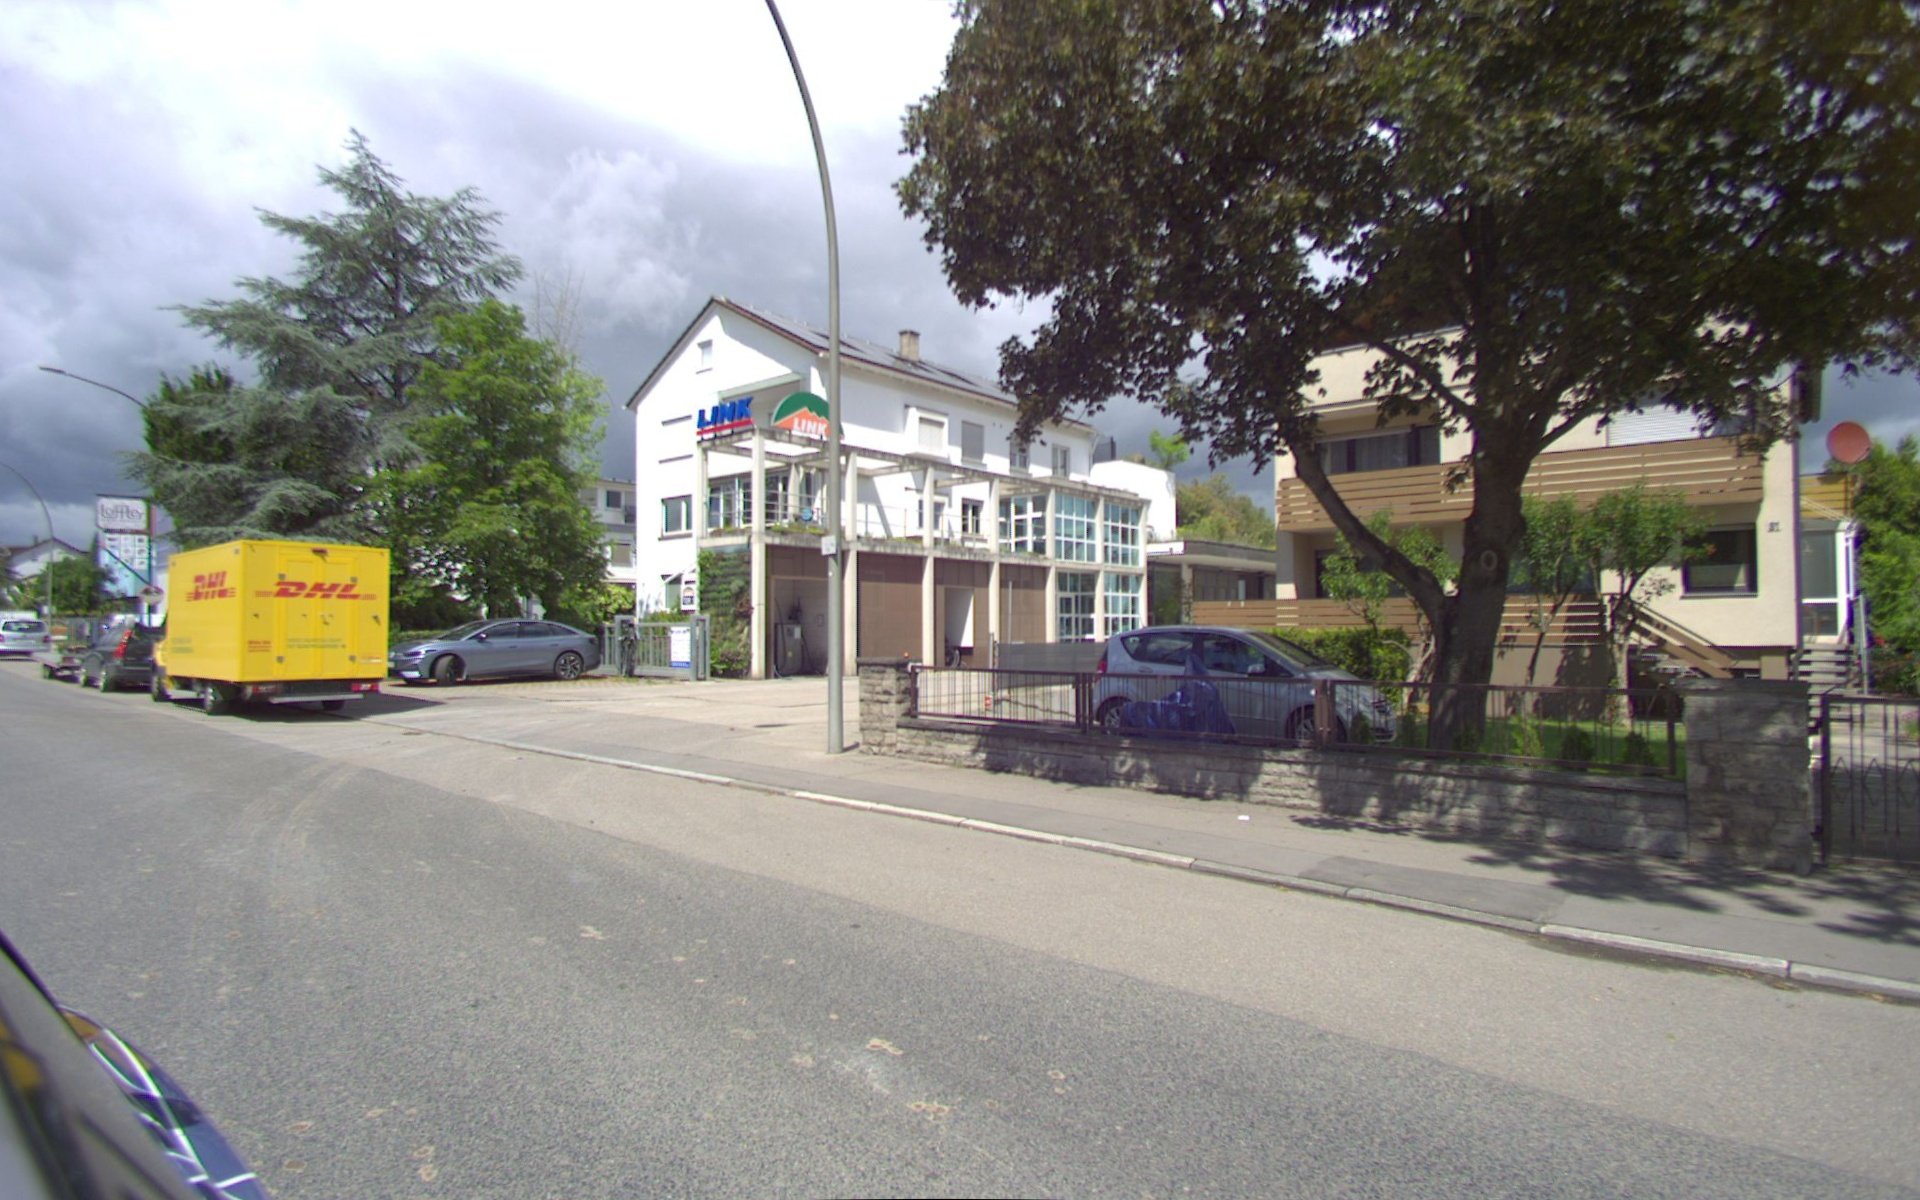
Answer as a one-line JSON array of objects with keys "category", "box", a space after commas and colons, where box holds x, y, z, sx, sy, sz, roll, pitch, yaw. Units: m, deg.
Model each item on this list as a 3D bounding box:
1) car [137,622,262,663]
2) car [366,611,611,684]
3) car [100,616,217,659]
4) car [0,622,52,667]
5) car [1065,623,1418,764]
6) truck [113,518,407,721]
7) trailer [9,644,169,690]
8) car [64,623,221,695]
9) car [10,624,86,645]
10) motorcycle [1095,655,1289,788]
[{"category": "car", "box": [-33.131, 1.858, 44.160, 2.101, 1.683, 3.948, -1, -3, 38]}, {"category": "car", "box": [-11.123, 1.093, 24.234, 1.971, 1.563, 4.957, -1, -2, 39]}, {"category": "car", "box": [-37.534, 1.766, 47.457, 1.999, 1.891, 3.945, -1, -3, 41]}, {"category": "car", "box": [-36.975, 1.715, 39.456, 4.126, 1.689, 1.785, -1, -4, 42]}, {"category": "car", "box": [3.560, 1.086, 13.149, 4.081, 1.555, 1.750, -1, -2, 38]}, {"category": "truck", "box": [-13.020, 0.417, 18.496, 7.812, 3.026, 2.300, -1, -4, 40]}, {"category": "trailer", "box": [-23.763, 1.756, 27.458, 7.456, 0.998, 2.294, -1, -4, 42]}, {"category": "car", "box": [-18.953, 1.327, 23.381, 4.810, 1.464, 1.972, -1, -6, 42]}, {"category": "car", "box": [-67.670, 2.546, 75.125, 1.674, 1.505, 3.994, -1, -3, 40]}, {"category": "motorcycle", "box": [2.315, 1.145, 10.047, 1.844, 1.174, 0.827, 1, -2, -32]}]
